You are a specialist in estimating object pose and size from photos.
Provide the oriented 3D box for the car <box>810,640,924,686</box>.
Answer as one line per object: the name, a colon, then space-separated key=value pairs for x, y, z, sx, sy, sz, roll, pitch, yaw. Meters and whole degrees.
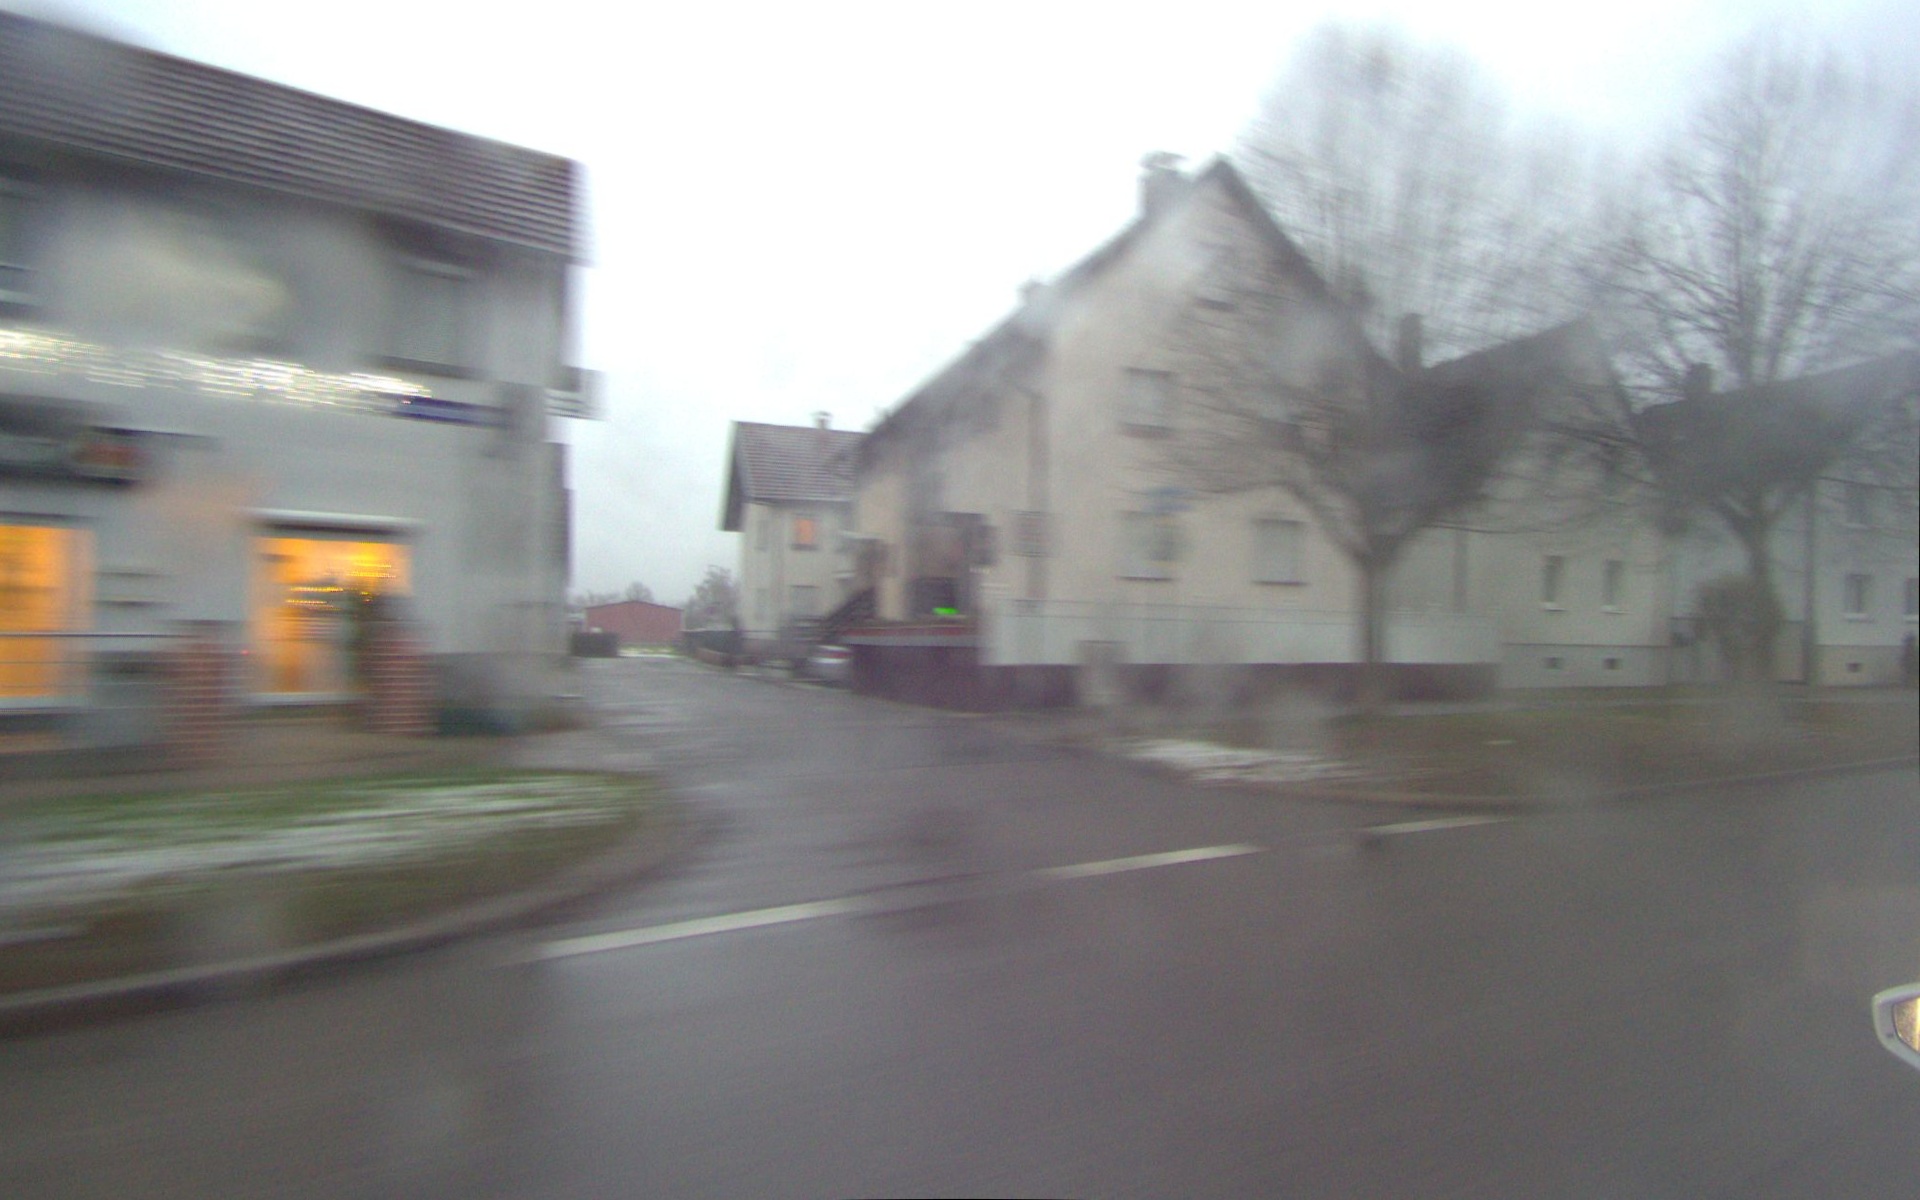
car: x=-2.315 y=1.568 z=25.083 sx=2.619 sy=1.072 sz=1.122 roll=2 pitch=-1 yaw=-22
